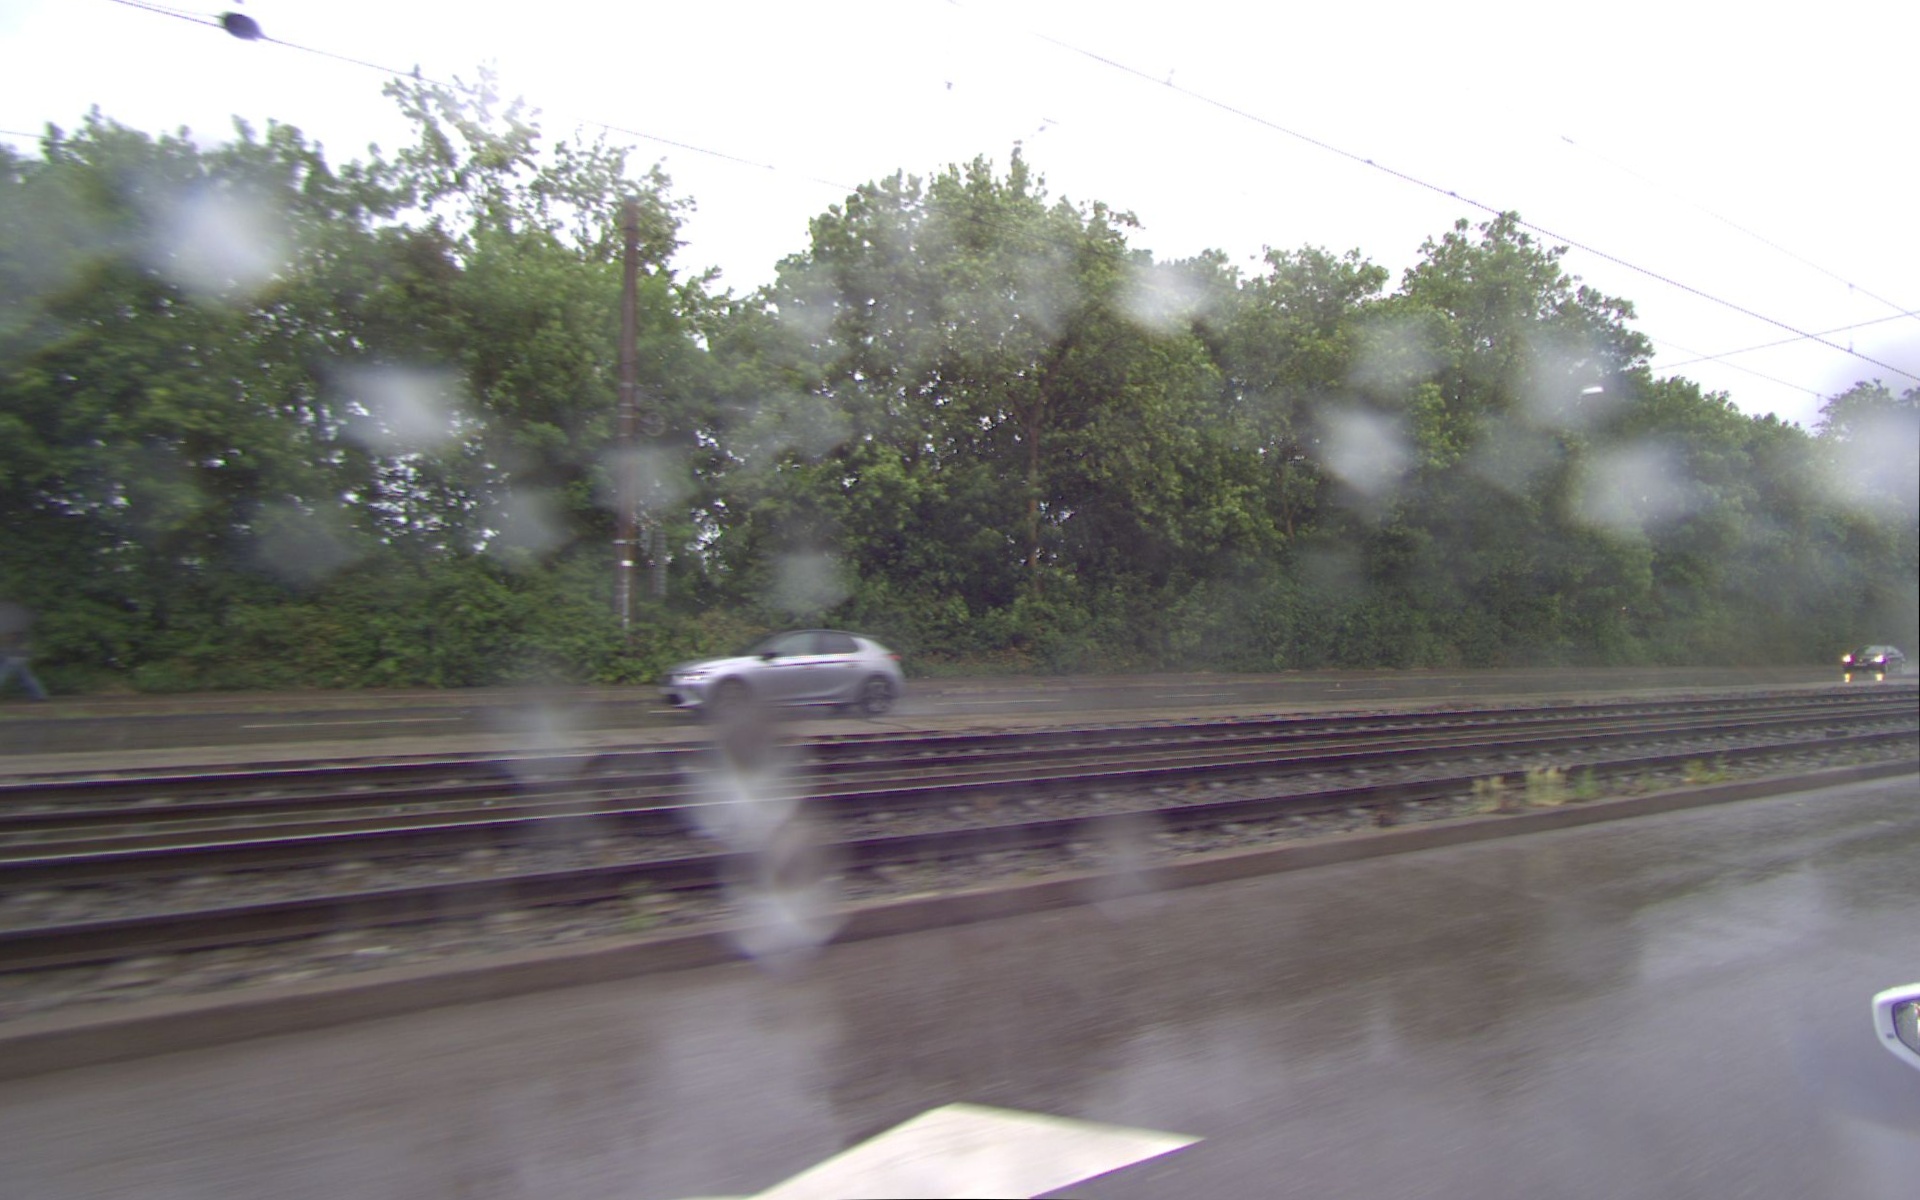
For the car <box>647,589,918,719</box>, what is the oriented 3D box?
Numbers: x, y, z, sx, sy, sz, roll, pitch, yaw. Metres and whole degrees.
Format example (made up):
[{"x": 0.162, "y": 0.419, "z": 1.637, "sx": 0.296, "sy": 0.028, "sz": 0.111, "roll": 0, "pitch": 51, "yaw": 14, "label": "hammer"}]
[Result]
[{"x": -2.930, "y": 0.825, "z": 16.691, "sx": 3.954, "sy": 1.807, "sz": 1.983, "roll": 1, "pitch": 4, "yaw": -31, "label": "car"}]

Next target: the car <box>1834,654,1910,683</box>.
[{"x": 46.482, "y": 3.468, "z": 51.187, "sx": 4.331, "sy": 1.348, "sz": 1.762, "roll": 2, "pitch": -1, "yaw": -32, "label": "car"}]
